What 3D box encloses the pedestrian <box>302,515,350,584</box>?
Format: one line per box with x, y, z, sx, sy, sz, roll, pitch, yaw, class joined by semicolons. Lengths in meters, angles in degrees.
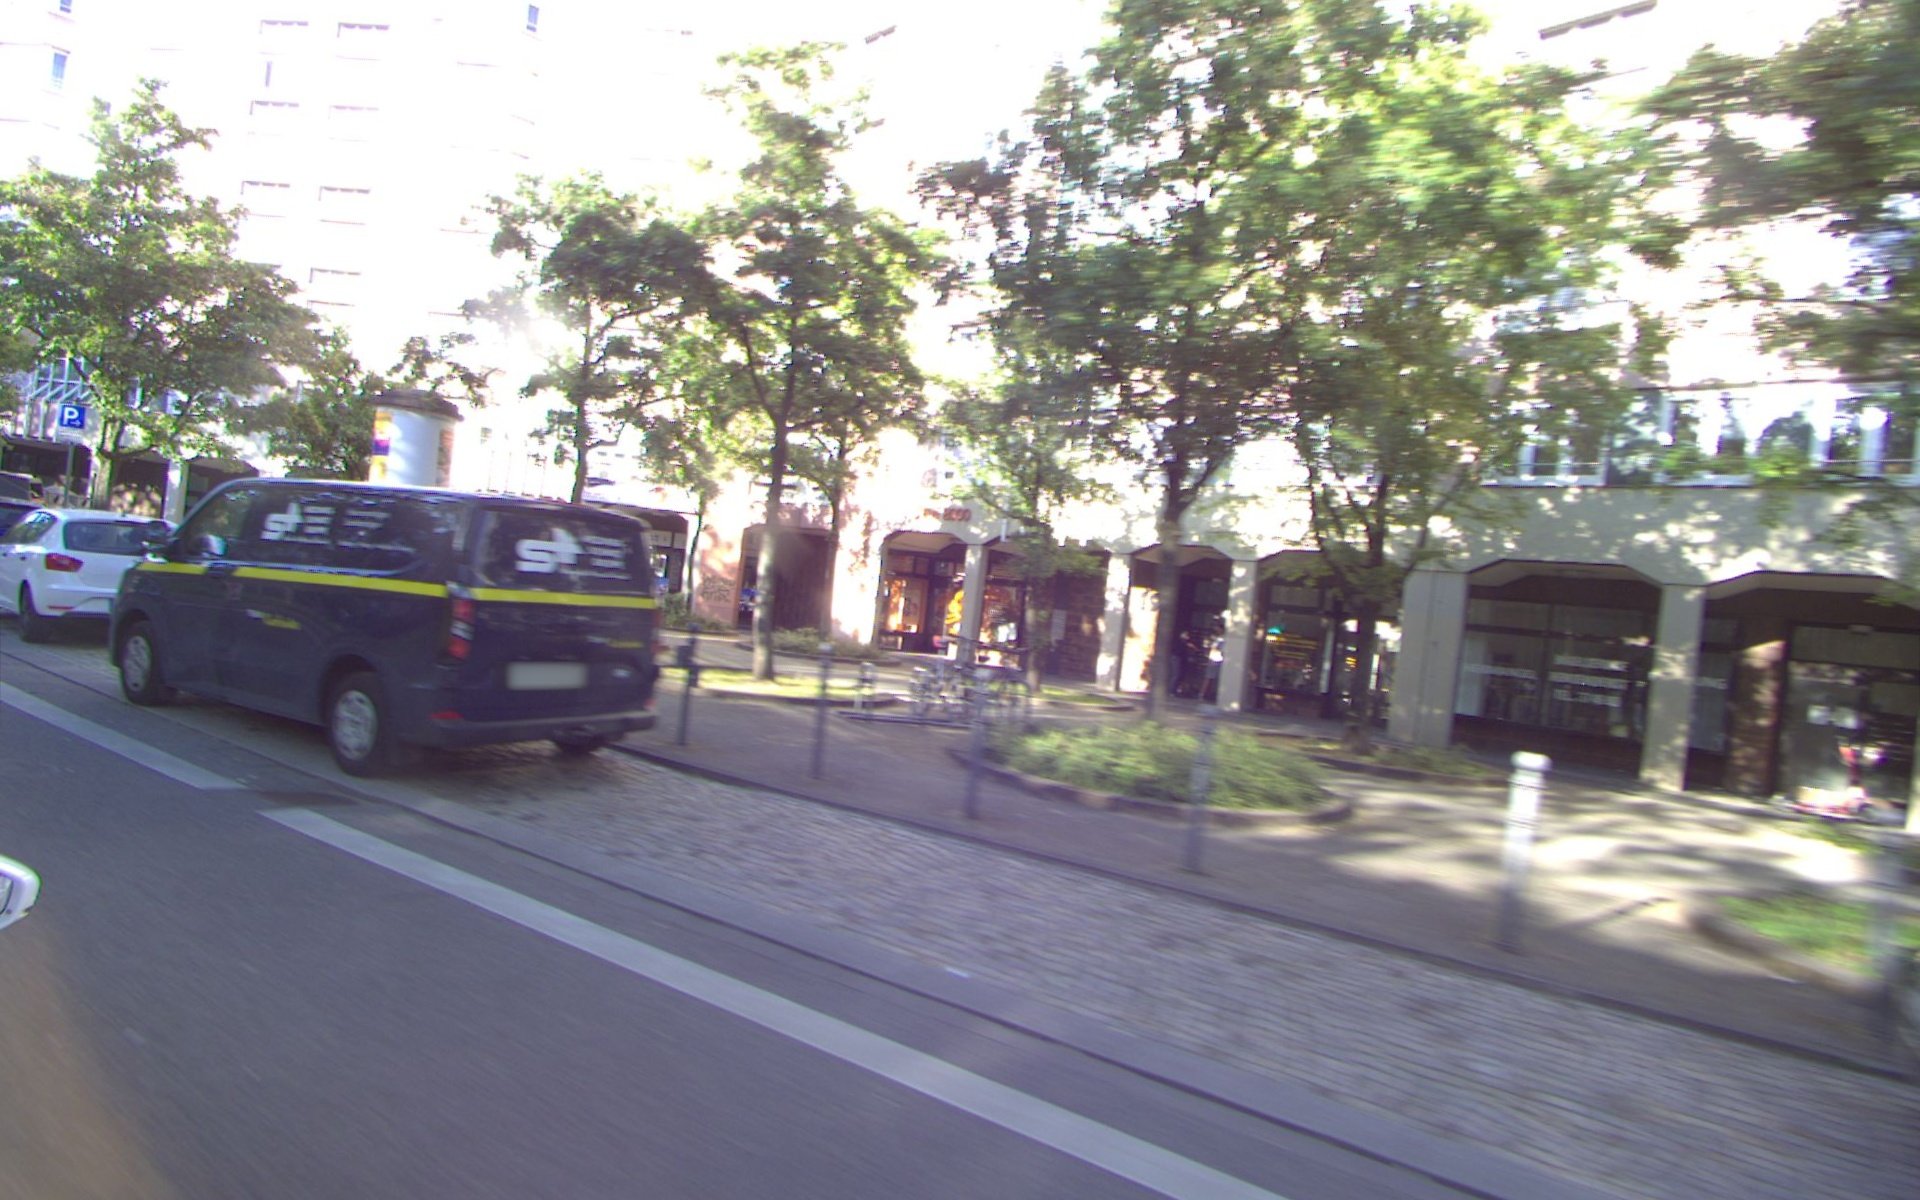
-19.980;-1.587;31.715;0.834;2.005;0.817;7;0;30;pedestrian

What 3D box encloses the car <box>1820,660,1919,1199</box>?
5.184;1.301;2.305;4.499;1.747;1.798;7;1;33;car

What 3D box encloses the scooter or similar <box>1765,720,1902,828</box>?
12.478;2.463;14.424;1.343;1.270;0.665;7;0;39;scooter or similar

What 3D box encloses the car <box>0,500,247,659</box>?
-10.401;-0.310;12.051;4.110;1.483;1.702;7;0;36;car

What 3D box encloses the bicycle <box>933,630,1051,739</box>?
0.378;1.069;13.202;0.480;1.168;1.897;7;0;-31;bicycle

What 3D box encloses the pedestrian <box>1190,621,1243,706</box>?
6.135;1.515;24.088;0.877;1.894;0.725;7;0;28;pedestrian

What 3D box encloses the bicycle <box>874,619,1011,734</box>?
-0.276;0.948;13.019;0.649;1.202;2.167;7;-1;-31;bicycle

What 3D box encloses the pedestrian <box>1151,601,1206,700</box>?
5.293;1.227;24.387;0.720;2.275;0.796;7;0;-39;pedestrian

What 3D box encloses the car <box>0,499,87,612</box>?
-15.084;-0.829;15.280;4.181;1.502;1.702;7;0;35;car

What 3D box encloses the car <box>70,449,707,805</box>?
-4.717;0.020;8.065;5.110;1.968;2.040;7;1;30;car
